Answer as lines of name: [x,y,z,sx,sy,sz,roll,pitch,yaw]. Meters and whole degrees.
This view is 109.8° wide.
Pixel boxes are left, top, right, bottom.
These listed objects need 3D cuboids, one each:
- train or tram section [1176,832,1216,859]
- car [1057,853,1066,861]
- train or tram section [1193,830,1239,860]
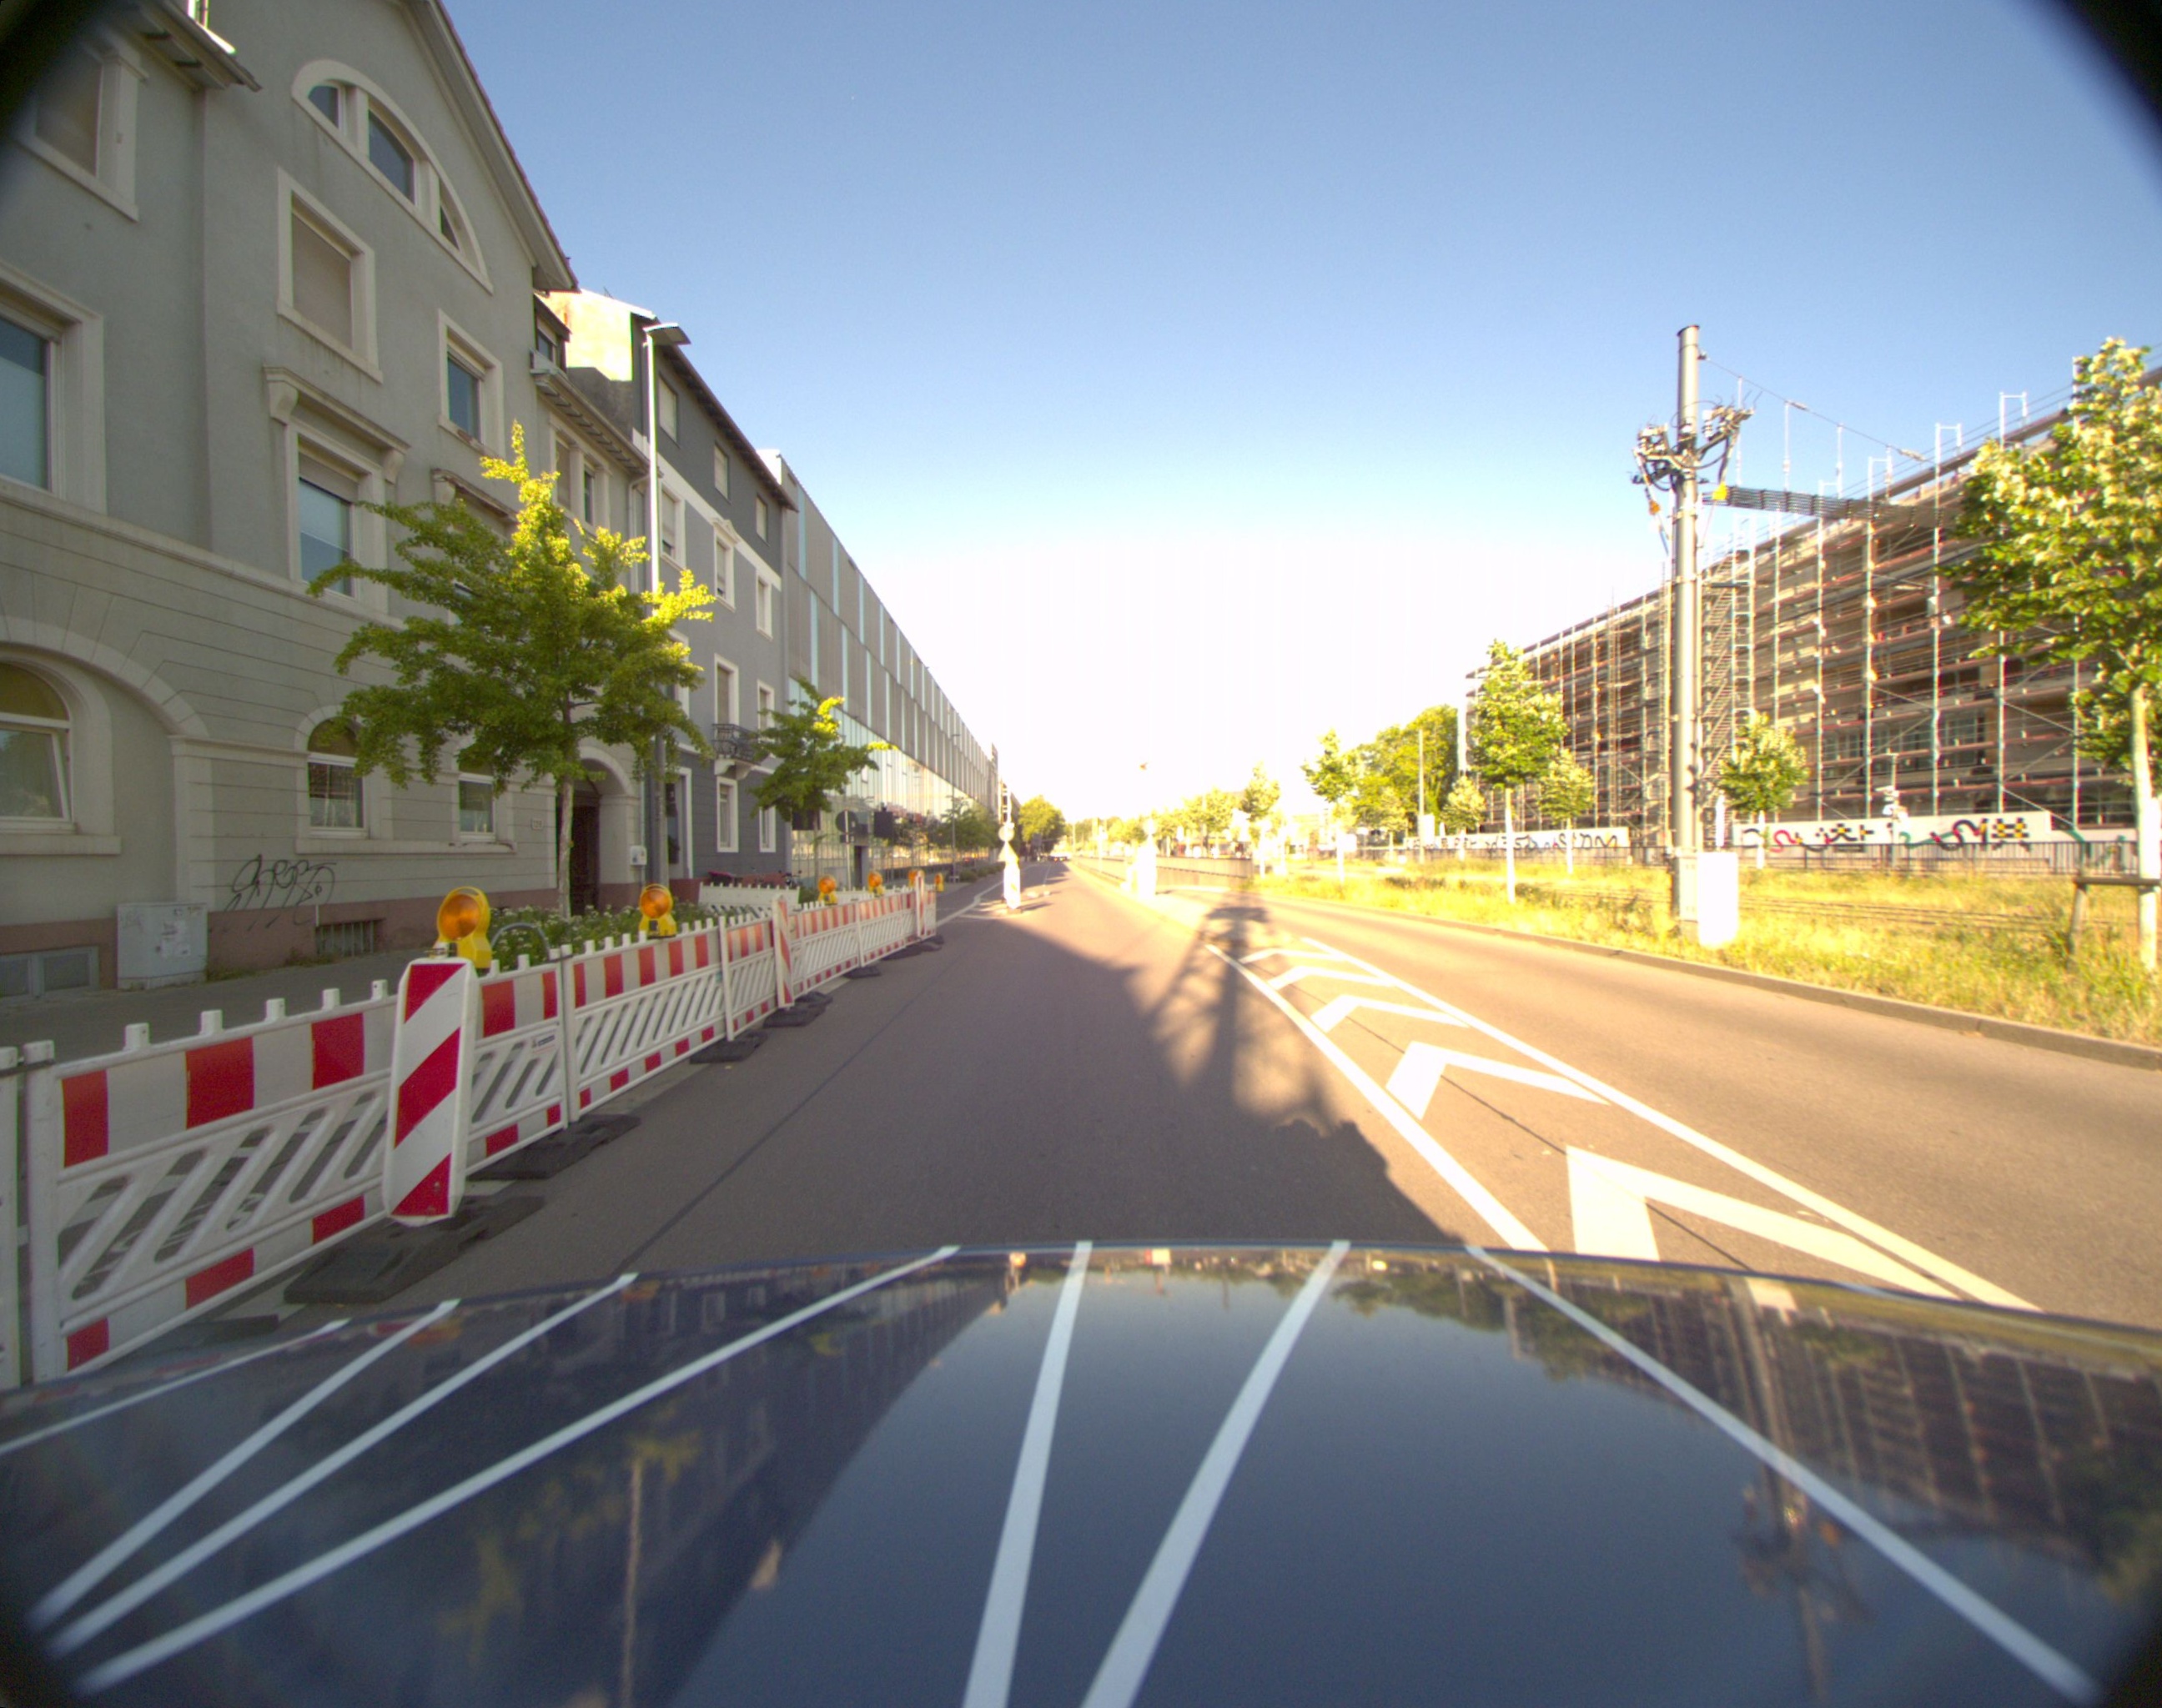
train or tram section: [16.154,-1.212,107.916,2.954,3.378,14.761,-2,1,-2]
car: [-4.840,0.797,187.501,1.941,2.002,3.825,-1,0,-3]
train or tram section: [16.568,-1.089,94.204,2.954,3.378,12.630,-2,1,-2]
